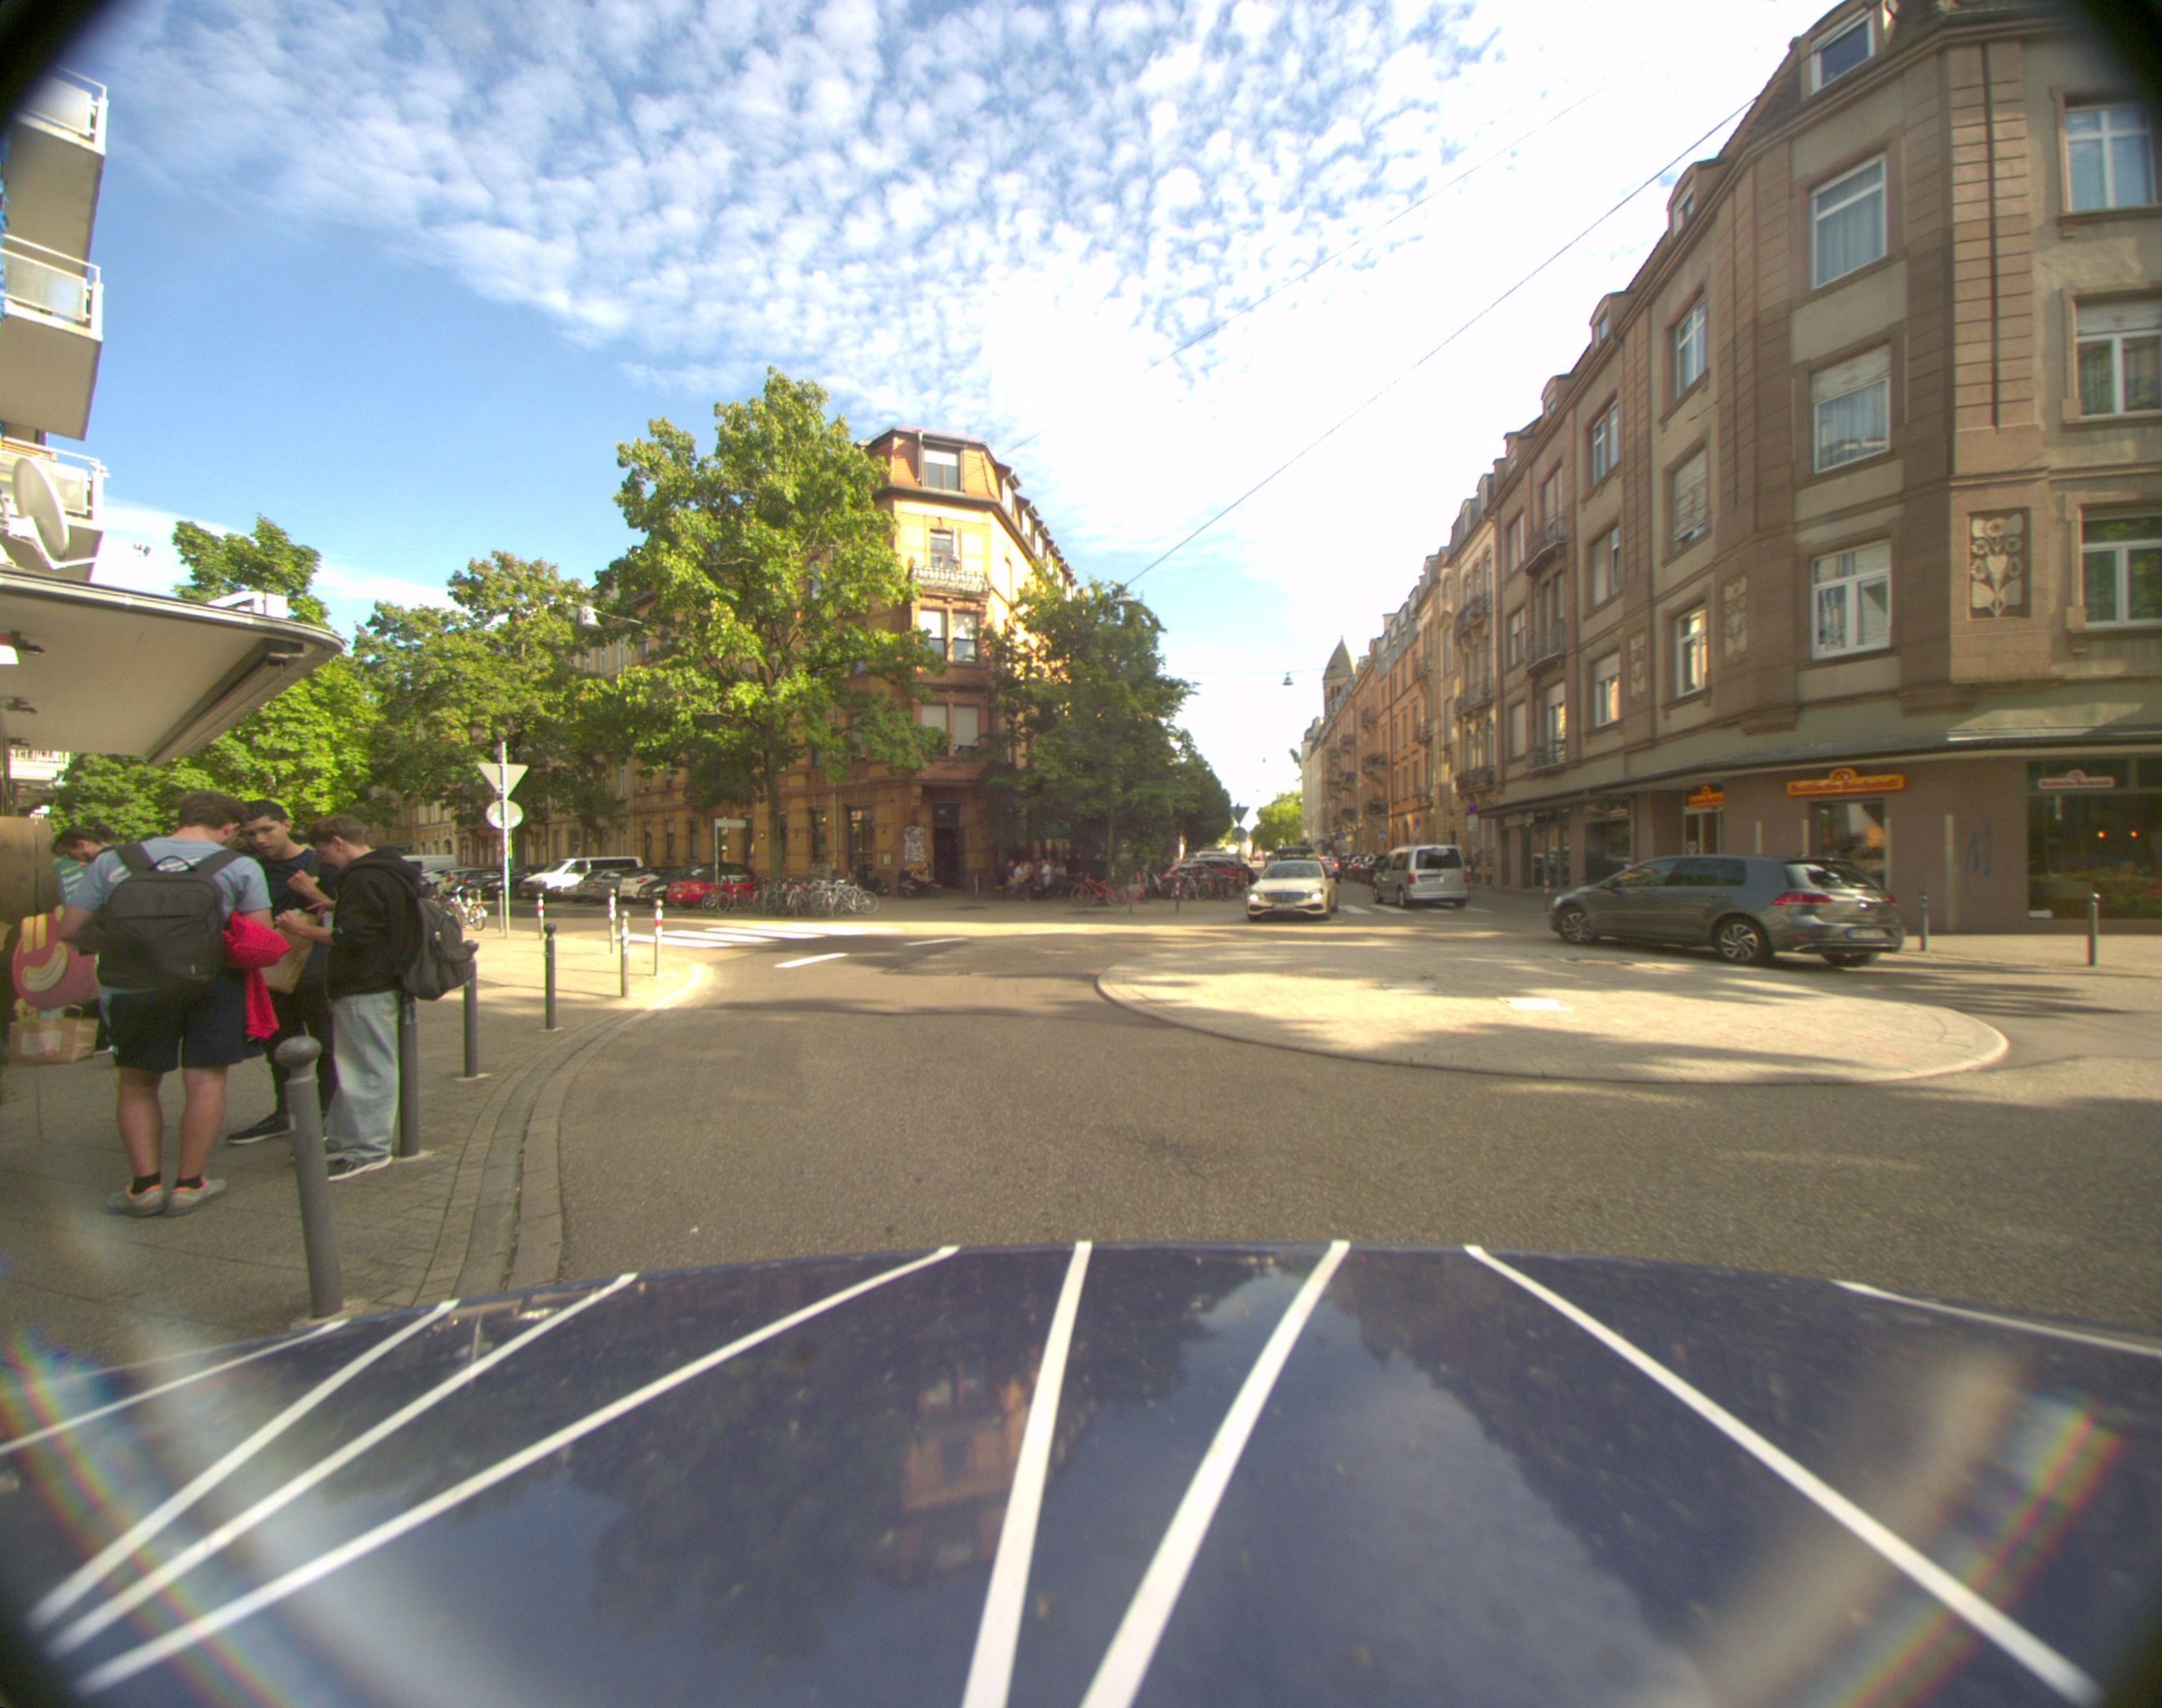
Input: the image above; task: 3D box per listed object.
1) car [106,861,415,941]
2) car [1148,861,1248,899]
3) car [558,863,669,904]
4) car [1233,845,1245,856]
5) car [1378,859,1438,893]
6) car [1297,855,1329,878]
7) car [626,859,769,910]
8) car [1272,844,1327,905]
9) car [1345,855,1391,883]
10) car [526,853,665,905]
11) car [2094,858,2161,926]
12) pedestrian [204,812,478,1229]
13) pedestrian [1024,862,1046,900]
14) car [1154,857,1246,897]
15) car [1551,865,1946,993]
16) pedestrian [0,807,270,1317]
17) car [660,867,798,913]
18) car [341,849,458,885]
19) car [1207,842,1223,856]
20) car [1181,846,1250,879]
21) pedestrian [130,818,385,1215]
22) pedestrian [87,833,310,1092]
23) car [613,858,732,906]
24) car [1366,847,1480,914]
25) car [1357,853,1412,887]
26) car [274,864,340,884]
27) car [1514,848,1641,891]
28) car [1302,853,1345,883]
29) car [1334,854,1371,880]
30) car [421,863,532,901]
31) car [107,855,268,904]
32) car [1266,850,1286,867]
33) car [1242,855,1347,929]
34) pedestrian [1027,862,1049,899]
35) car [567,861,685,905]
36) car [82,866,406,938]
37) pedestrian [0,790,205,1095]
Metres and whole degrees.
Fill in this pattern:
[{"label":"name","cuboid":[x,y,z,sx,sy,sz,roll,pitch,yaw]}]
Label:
[{"label":"car","cuboid":[-16.962,0.921,16.001,1.806,1.446,4.007,0,-2,21]},{"label":"car","cuboid":[4.651,1.024,30.331,3.589,1.372,1.511,2,0,-13]},{"label":"car","cuboid":[-20.418,1.241,33.299,1.665,1.450,3.714,0,3,38]},{"label":"car","cuboid":[28.375,-0.626,136.491,1.996,1.877,4.004,-2,-1,14]},{"label":"car","cuboid":[14.618,0.943,34.171,1.722,1.360,3.833,-2,-1,12]},{"label":"car","cuboid":[15.828,0.819,51.979,1.768,1.373,4.456,-3,-1,13]},{"label":"car","cuboid":[-14.351,1.092,28.628,2.001,1.561,4.320,-1,2,43]},{"label":"car","cuboid":[7.984,0.703,27.914,1.790,2.051,4.005,-1,0,15]},{"label":"car","cuboid":[16.600,0.829,44.095,1.760,1.488,4.137,-2,-1,11]},{"label":"car","cuboid":[-22.349,1.066,35.200,2.041,1.978,4.920,0,3,34]},{"label":"car","cuboid":[23.890,0.792,15.266,1.765,1.421,4.001,-2,-1,2]},{"label":"pedestrian","cuboid":[-3.509,0.727,3.681,0.716,1.786,0.631,2,0,-23]},{"label":"pedestrian","cuboid":[-1.595,0.924,26.273,0.729,1.307,0.521,0,0,0]},{"label":"car","cuboid":[5.115,0.981,32.847,3.589,1.606,1.512,2,0,-11]},{"label":"car","cuboid":[8.841,0.883,10.621,1.797,1.429,3.998,0,-1,-6]},{"label":"pedestrian","cuboid":[-3.817,0.731,3.092,0.712,1.786,0.634,2,0,45]},{"label":"car","cuboid":[-12.290,1.228,26.802,1.563,1.263,4.120,-2,1,35]},{"label":"car","cuboid":[-45.282,0.829,50.620,1.995,2.188,5.493,-2,-1,37]},{"label":"car","cuboid":[18.111,-0.634,102.508,1.848,1.724,4.002,-2,-1,6]},{"label":"car","cuboid":[10.319,0.641,58.274,4.743,2.408,1.997,-2,0,-20]},{"label":"pedestrian","cuboid":[-4.167,0.738,3.871,0.653,1.786,0.660,2,0,25]},{"label":"pedestrian","cuboid":[-6.293,0.734,5.458,0.842,1.743,0.614,-1,0,-2]},{"label":"car","cuboid":[-16.357,1.088,30.545,1.856,1.711,3.716,-2,-1,38]},{"label":"car","cuboid":[10.100,0.754,22.805,1.833,1.780,4.333,-1,-1,6]},{"label":"car","cuboid":[15.568,0.799,39.182,1.860,1.575,4.402,-2,0,12]},{"label":"car","cuboid":[-72.475,1.867,71.192,1.824,1.722,4.008,-2,-1,36]},{"label":"car","cuboid":[20.892,0.651,32.140,3.996,1.611,2.001,-2,0,3]},{"label":"car","cuboid":[14.131,0.786,44.499,1.996,1.624,4.849,-1,-1,13]},{"label":"car","cuboid":[17.879,0.829,50.126,1.760,1.588,4.346,-1,0,12]},{"label":"car","cuboid":[-34.581,1.545,43.590,1.931,1.824,4.466,0,3,34]},{"label":"car","cuboid":[-44.110,1.233,37.708,2.145,2.207,4.814,-1,-1,5]},{"label":"car","cuboid":[22.794,0.484,88.972,1.942,1.868,4.840,-2,-1,11]},{"label":"car","cuboid":[5.610,0.891,19.506,1.940,1.588,4.844,-2,0,23]},{"label":"pedestrian","cuboid":[-1.500,0.927,26.799,0.729,1.307,0.521,0,0,0]},{"label":"car","cuboid":[-18.659,1.179,31.301,1.665,1.449,3.714,-2,2,38]},{"label":"car","cuboid":[-19.146,1.012,17.726,1.952,1.446,4.674,-1,-1,21]},{"label":"pedestrian","cuboid":[-7.267,0.588,5.470,0.865,2.001,1.032,1,-1,-23]}]
